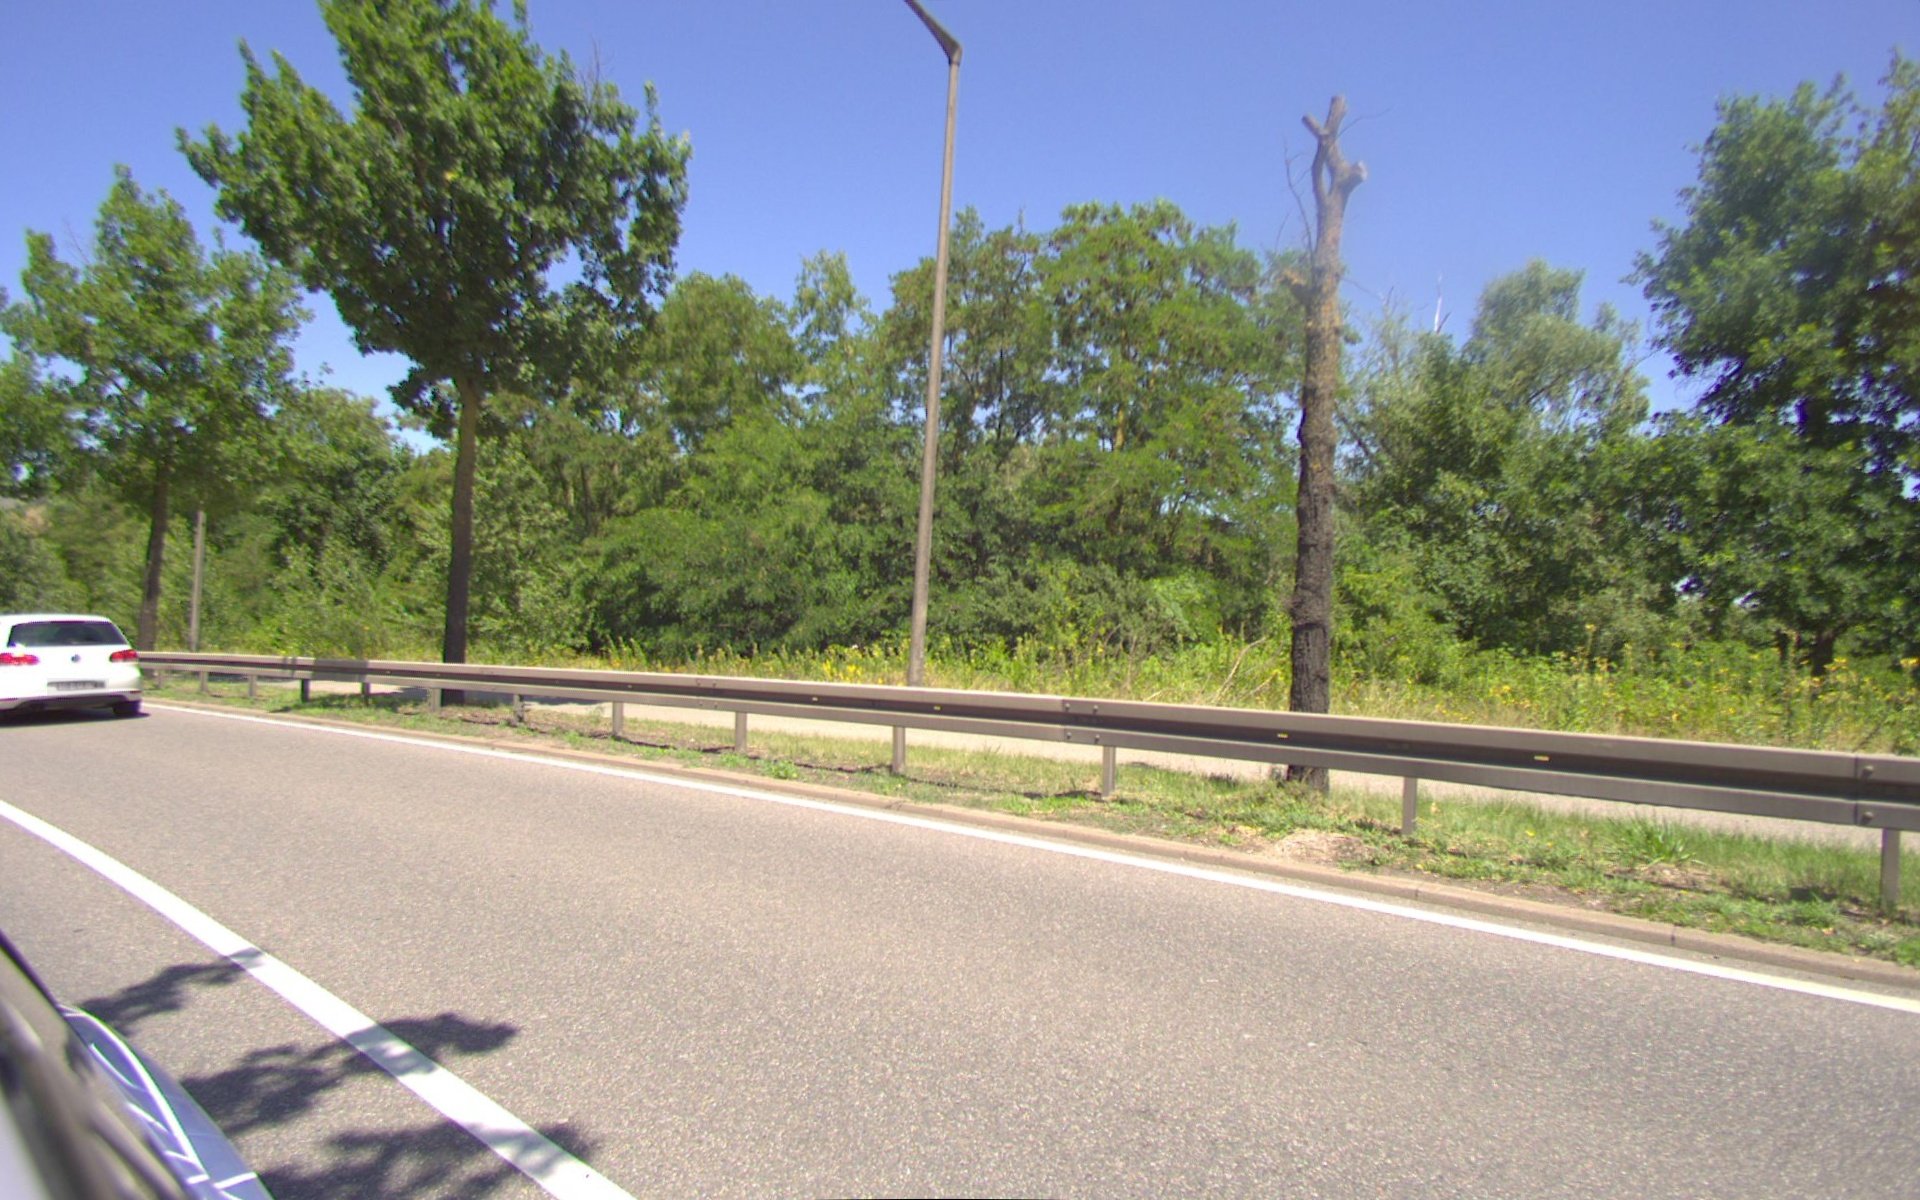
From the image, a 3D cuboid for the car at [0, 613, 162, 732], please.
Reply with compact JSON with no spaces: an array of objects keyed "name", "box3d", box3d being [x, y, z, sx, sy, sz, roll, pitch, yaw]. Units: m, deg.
[{"name":"car","box3d":[-13.126,0.942,14.305,4.011,1.449,1.711,-1,0,33]}]
